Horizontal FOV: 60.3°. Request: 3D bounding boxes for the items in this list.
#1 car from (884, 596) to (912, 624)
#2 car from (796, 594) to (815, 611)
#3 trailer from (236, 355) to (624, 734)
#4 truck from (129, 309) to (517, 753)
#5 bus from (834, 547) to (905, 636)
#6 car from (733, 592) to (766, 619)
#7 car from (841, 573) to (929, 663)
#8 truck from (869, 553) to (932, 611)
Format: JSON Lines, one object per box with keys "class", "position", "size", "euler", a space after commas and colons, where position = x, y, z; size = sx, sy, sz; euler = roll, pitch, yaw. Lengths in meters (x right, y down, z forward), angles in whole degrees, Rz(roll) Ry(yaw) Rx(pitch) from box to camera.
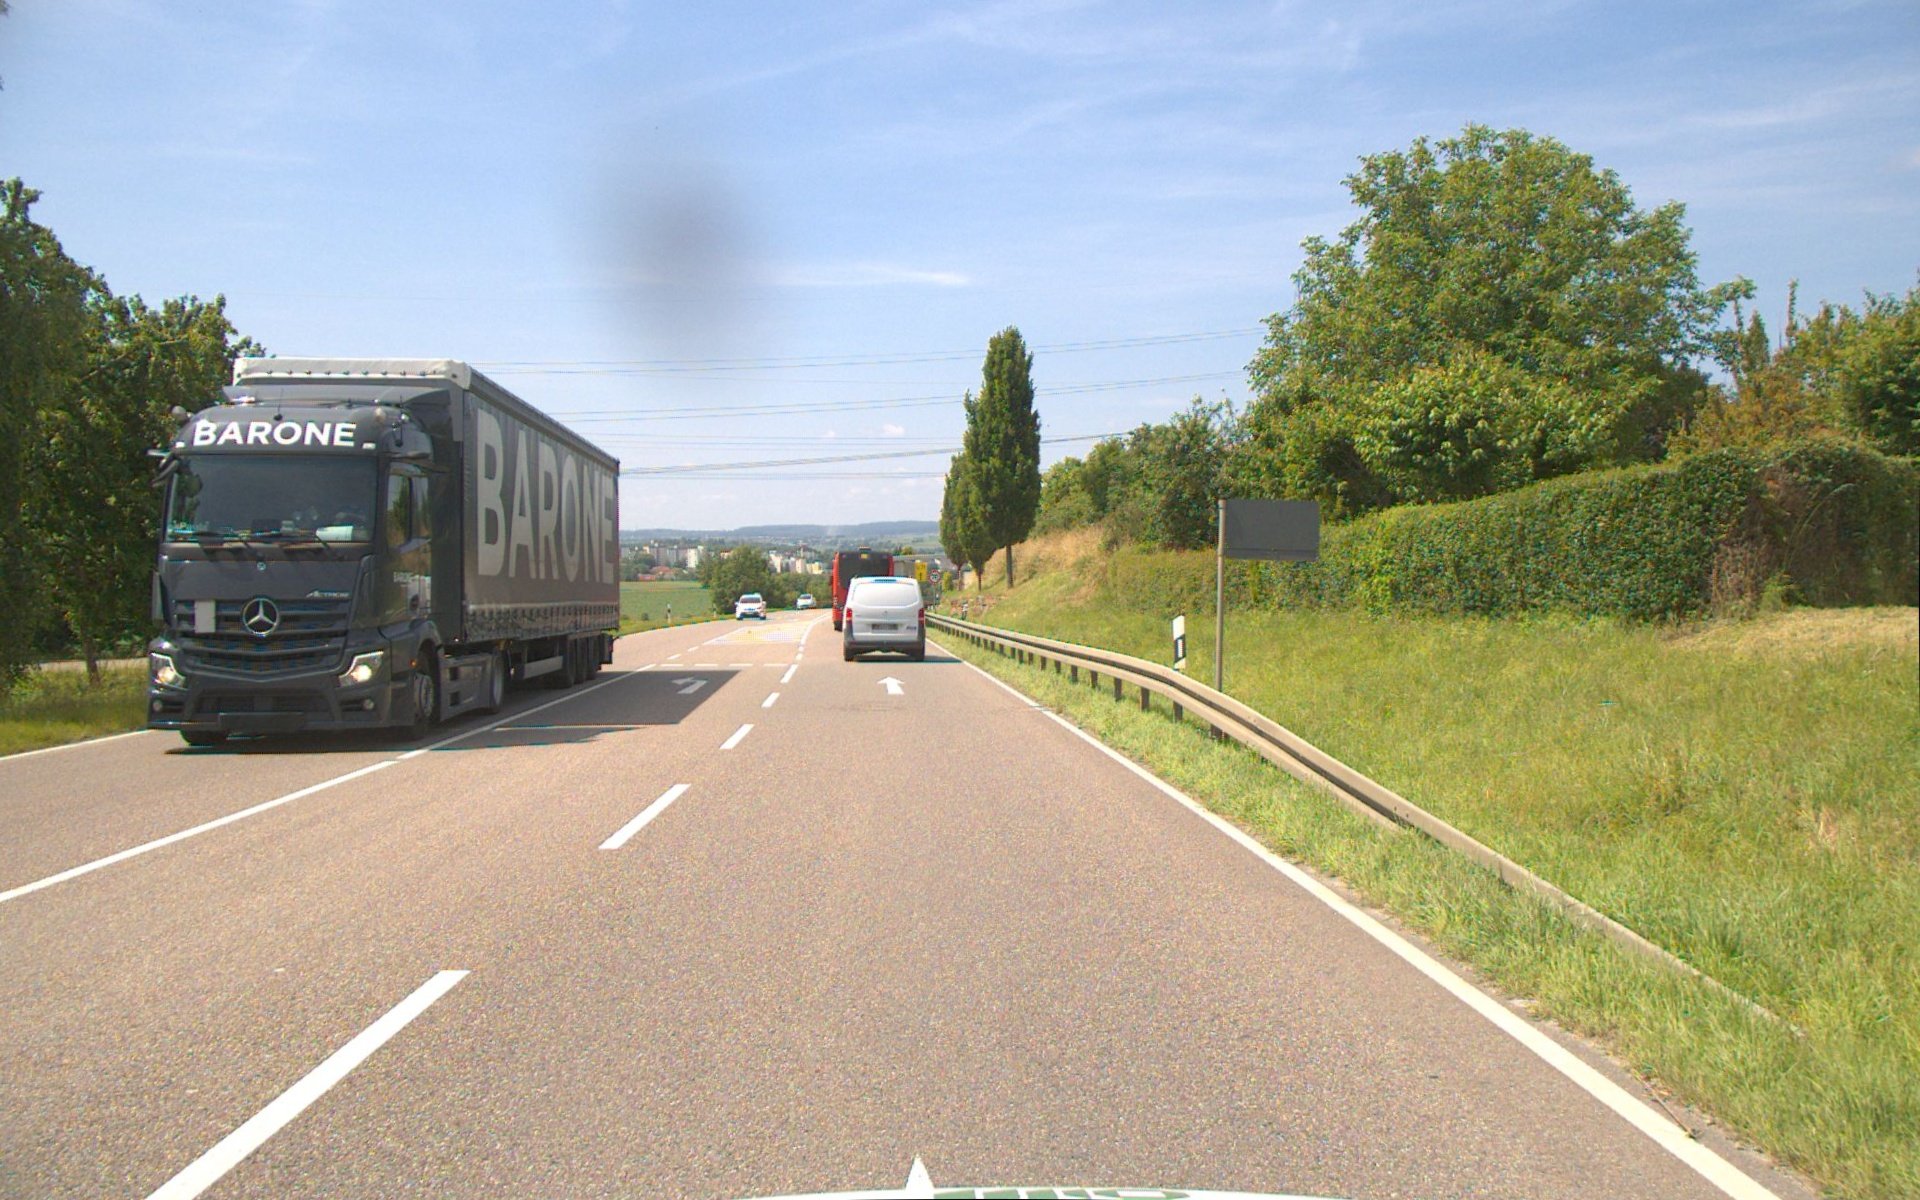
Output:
{"class": "car", "position": [-4.318, 0.676, 115.437], "size": [1.847, 1.848, 3.763], "euler": [-2, 1, -1]}
{"class": "car", "position": [-16.445, 0.227, 176.054], "size": [1.731, 1.717, 3.824], "euler": [-2, 0, -3]}
{"class": "trailer", "position": [-7.299, -0.655, 25.332], "size": [2.542, 4.215, 13.728], "euler": [-1, 0, -5]}
{"class": "truck", "position": [-6.748, -0.672, 18.372], "size": [2.534, 4.176, 5.436], "euler": [-1, 0, -5]}
{"class": "bus", "position": [-4.082, -0.540, 73.016], "size": [2.693, 3.411, 13.213], "euler": [-3, 2, -4]}
{"class": "car", "position": [-13.561, 0.339, 106.842], "size": [1.817, 1.593, 4.071], "euler": [-2, 0, -4]}
{"class": "car", "position": [-1.734, 0.374, 38.667], "size": [1.885, 1.922, 3.998], "euler": [-2, 1, -2]}
{"class": "truck", "position": [-4.825, -1.500, 138.369], "size": [3.415, 4.500, 14.911], "euler": [-1, 0, 5]}
